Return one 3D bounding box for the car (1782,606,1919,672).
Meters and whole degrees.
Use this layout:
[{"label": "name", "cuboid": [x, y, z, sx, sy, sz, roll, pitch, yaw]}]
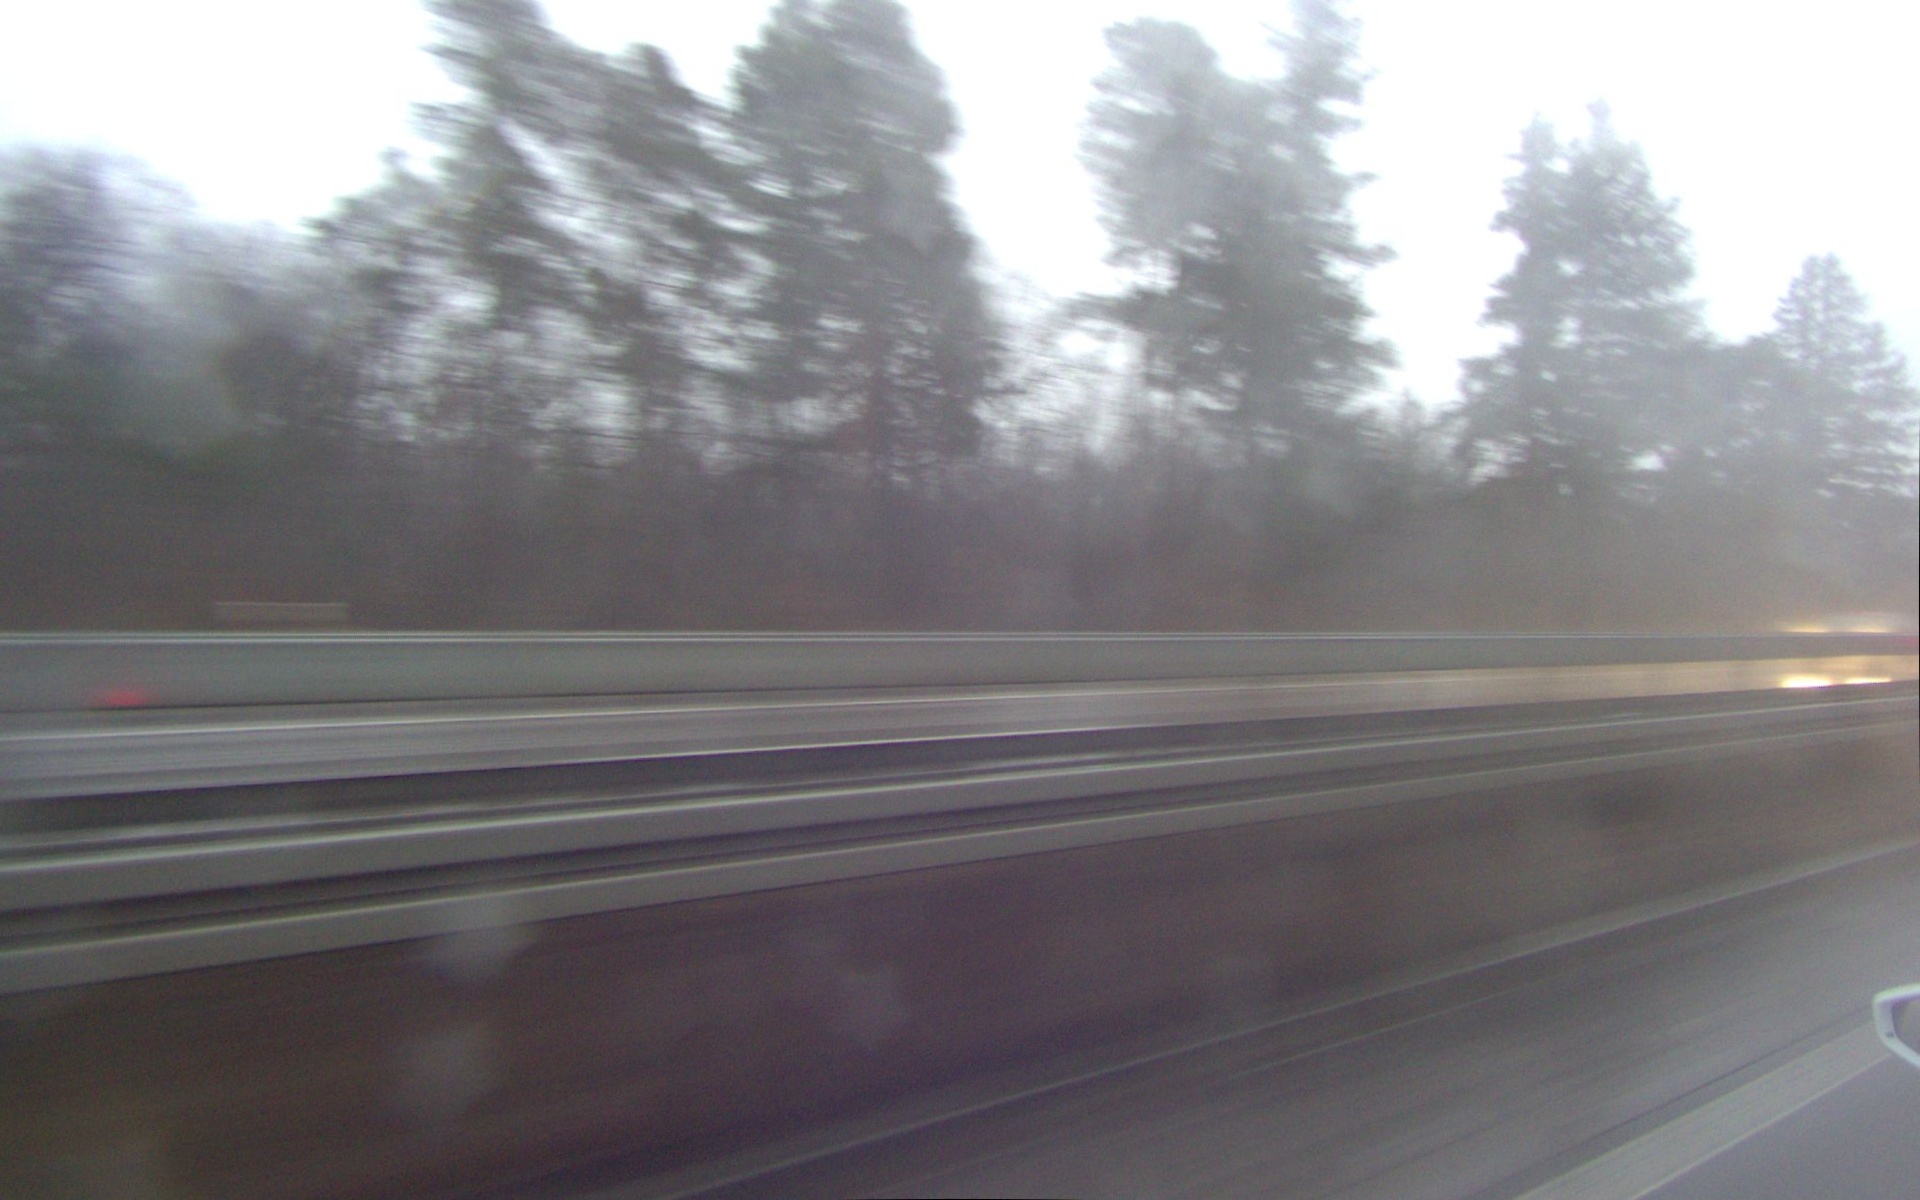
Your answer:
[{"label": "car", "cuboid": [24.797, 1.058, 27.936, 3.954, 1.713, 1.803, 1, 0, -31]}]
